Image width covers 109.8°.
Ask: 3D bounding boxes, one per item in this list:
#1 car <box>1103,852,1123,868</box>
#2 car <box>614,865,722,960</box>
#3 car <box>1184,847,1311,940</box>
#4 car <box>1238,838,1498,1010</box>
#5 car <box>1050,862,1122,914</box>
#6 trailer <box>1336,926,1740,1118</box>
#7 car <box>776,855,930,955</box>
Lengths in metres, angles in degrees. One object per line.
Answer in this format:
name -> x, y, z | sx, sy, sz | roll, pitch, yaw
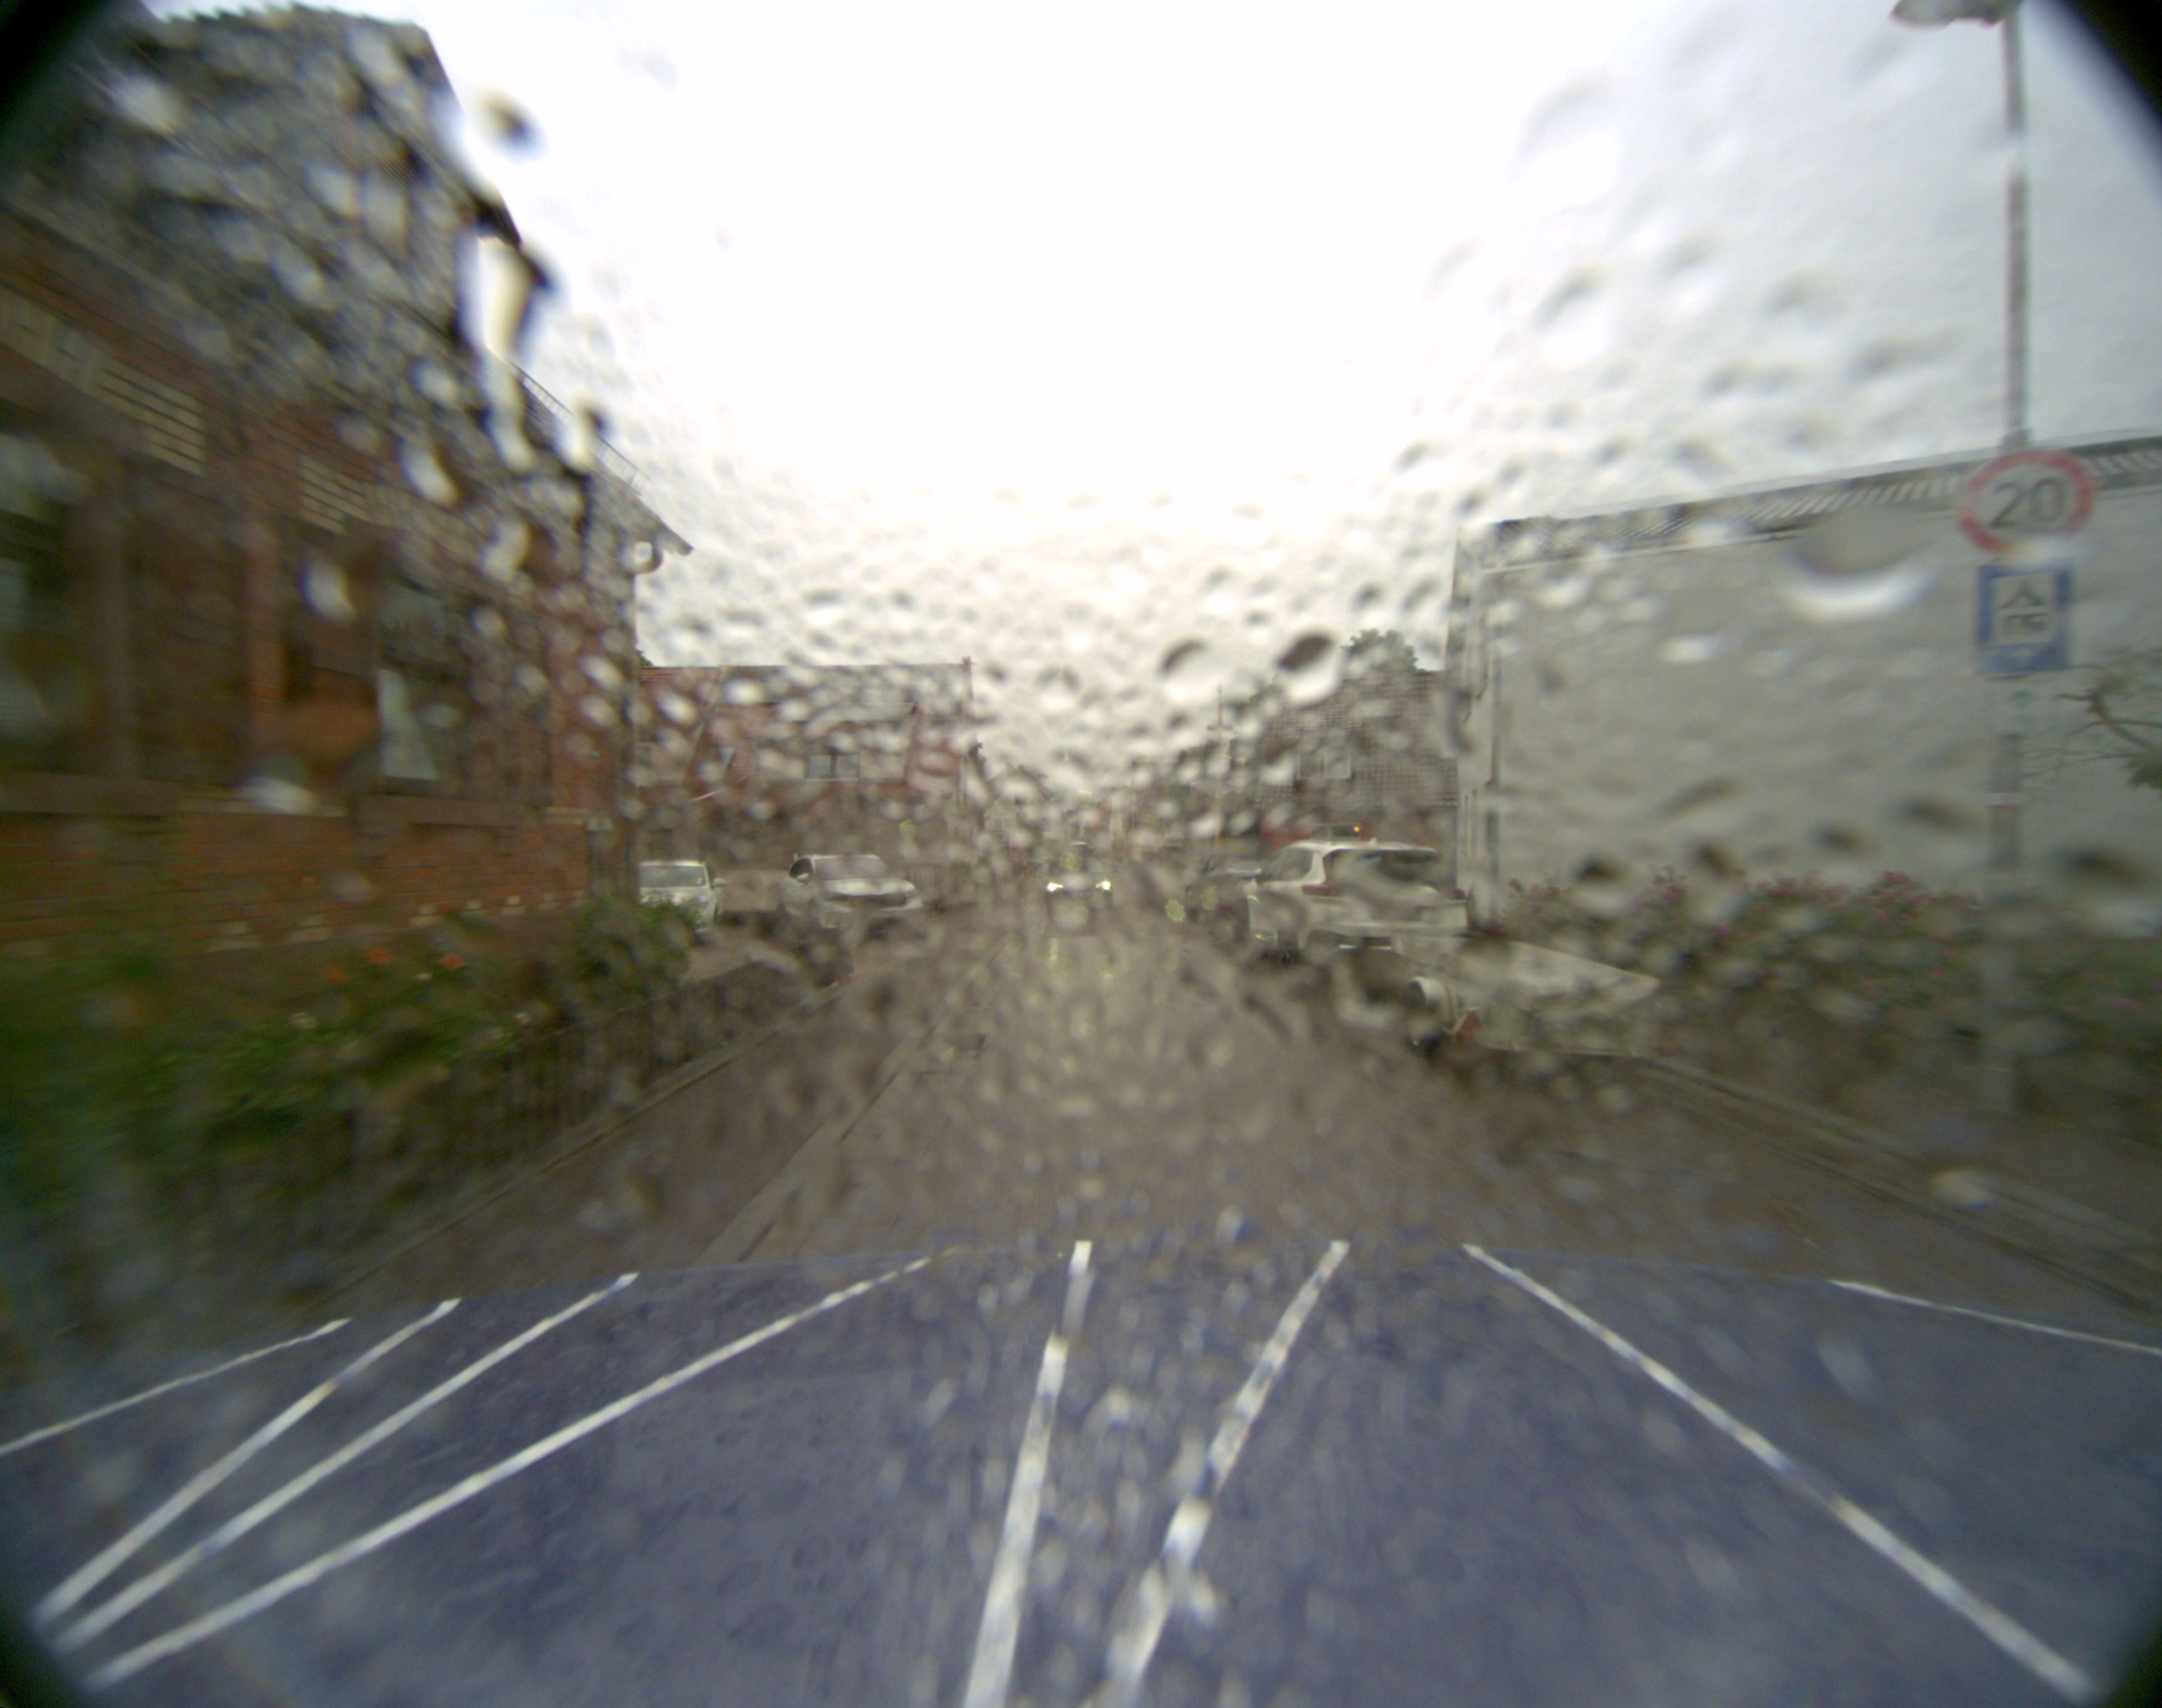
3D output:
car -> 3.262, 0.580, 78.463 | 1.860, 1.497, 4.161 | 2, 1, 1
car -> -7.594, 0.944, 13.895 | 1.492, 1.433, 3.710 | -2, 1, -30
car -> 3.218, 0.678, 15.505 | 1.675, 1.607, 4.183 | 2, 1, 1
car -> 3.299, 0.683, 9.692 | 1.815, 1.674, 4.184 | 2, 1, 2
car -> 0.060, 0.899, 21.410 | 1.668, 1.290, 3.517 | -1, 0, -5
trailer -> 3.270, 1.161, 6.116 | 1.504, 0.810, 3.006 | 2, 0, 2
car -> -4.450, 0.853, 14.454 | 1.894, 1.566, 3.882 | -2, 1, -30
